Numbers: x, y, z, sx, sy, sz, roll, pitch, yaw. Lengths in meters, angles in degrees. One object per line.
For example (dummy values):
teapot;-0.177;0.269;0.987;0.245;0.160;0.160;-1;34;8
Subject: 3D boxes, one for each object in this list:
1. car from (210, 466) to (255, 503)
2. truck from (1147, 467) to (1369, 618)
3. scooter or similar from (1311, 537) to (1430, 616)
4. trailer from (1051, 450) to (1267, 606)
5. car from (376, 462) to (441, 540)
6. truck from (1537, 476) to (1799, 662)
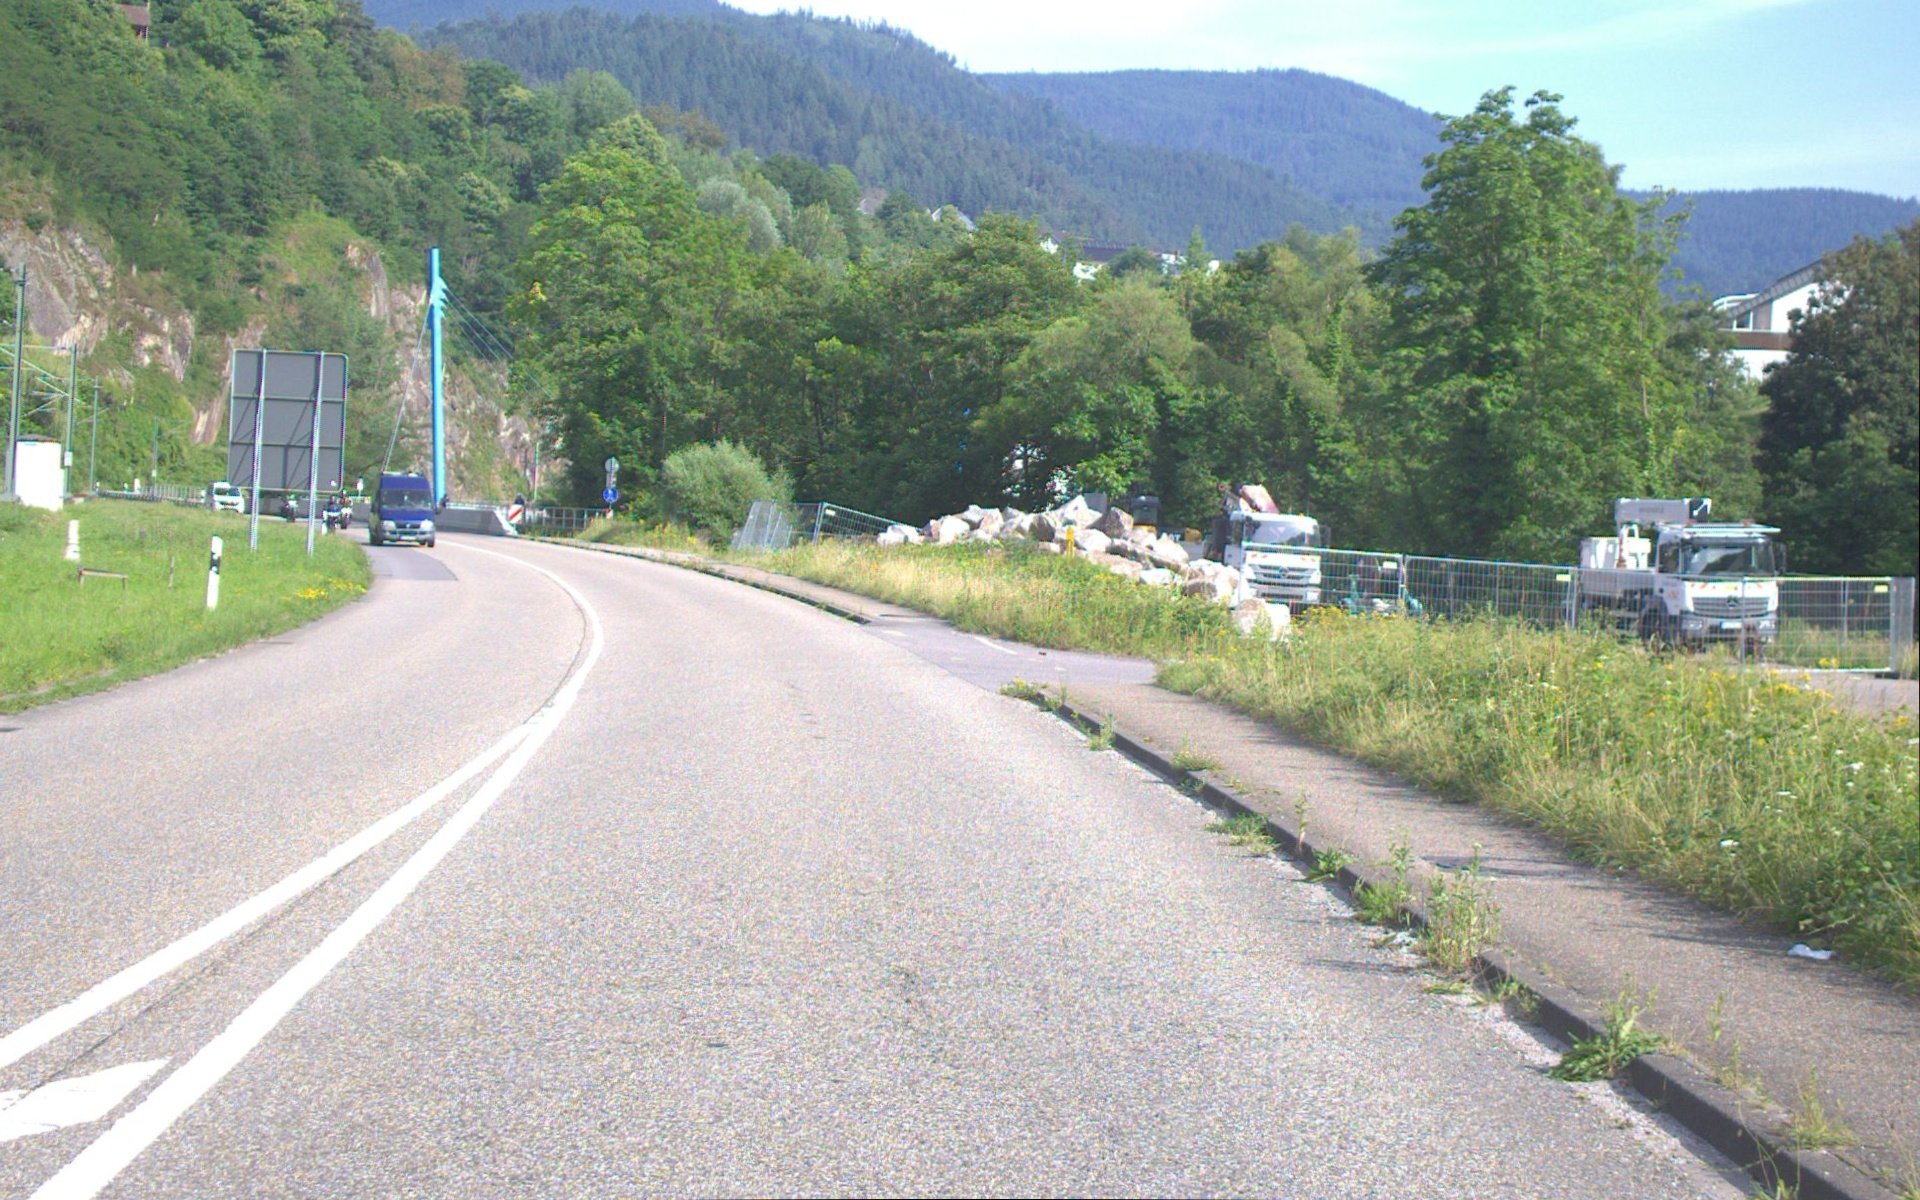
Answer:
car;-39.651;-6.303;187.318;1.869;1.775;4.601;2;3;-18
truck;8.046;-1.665;94.268;3.102;3.769;8.648;3;1;-15
scooter or similar;11.154;-0.665;93.694;1.993;2.006;4.001;1;2;-12
trailer;5.851;-2.181;103.251;3.364;4.259;9.913;3;1;-14
car;-18.998;-3.418;118.547;2.126;2.606;5.481;0;2;-8
truck;15.834;-0.782;77.676;3.102;3.769;8.647;4;1;-6
